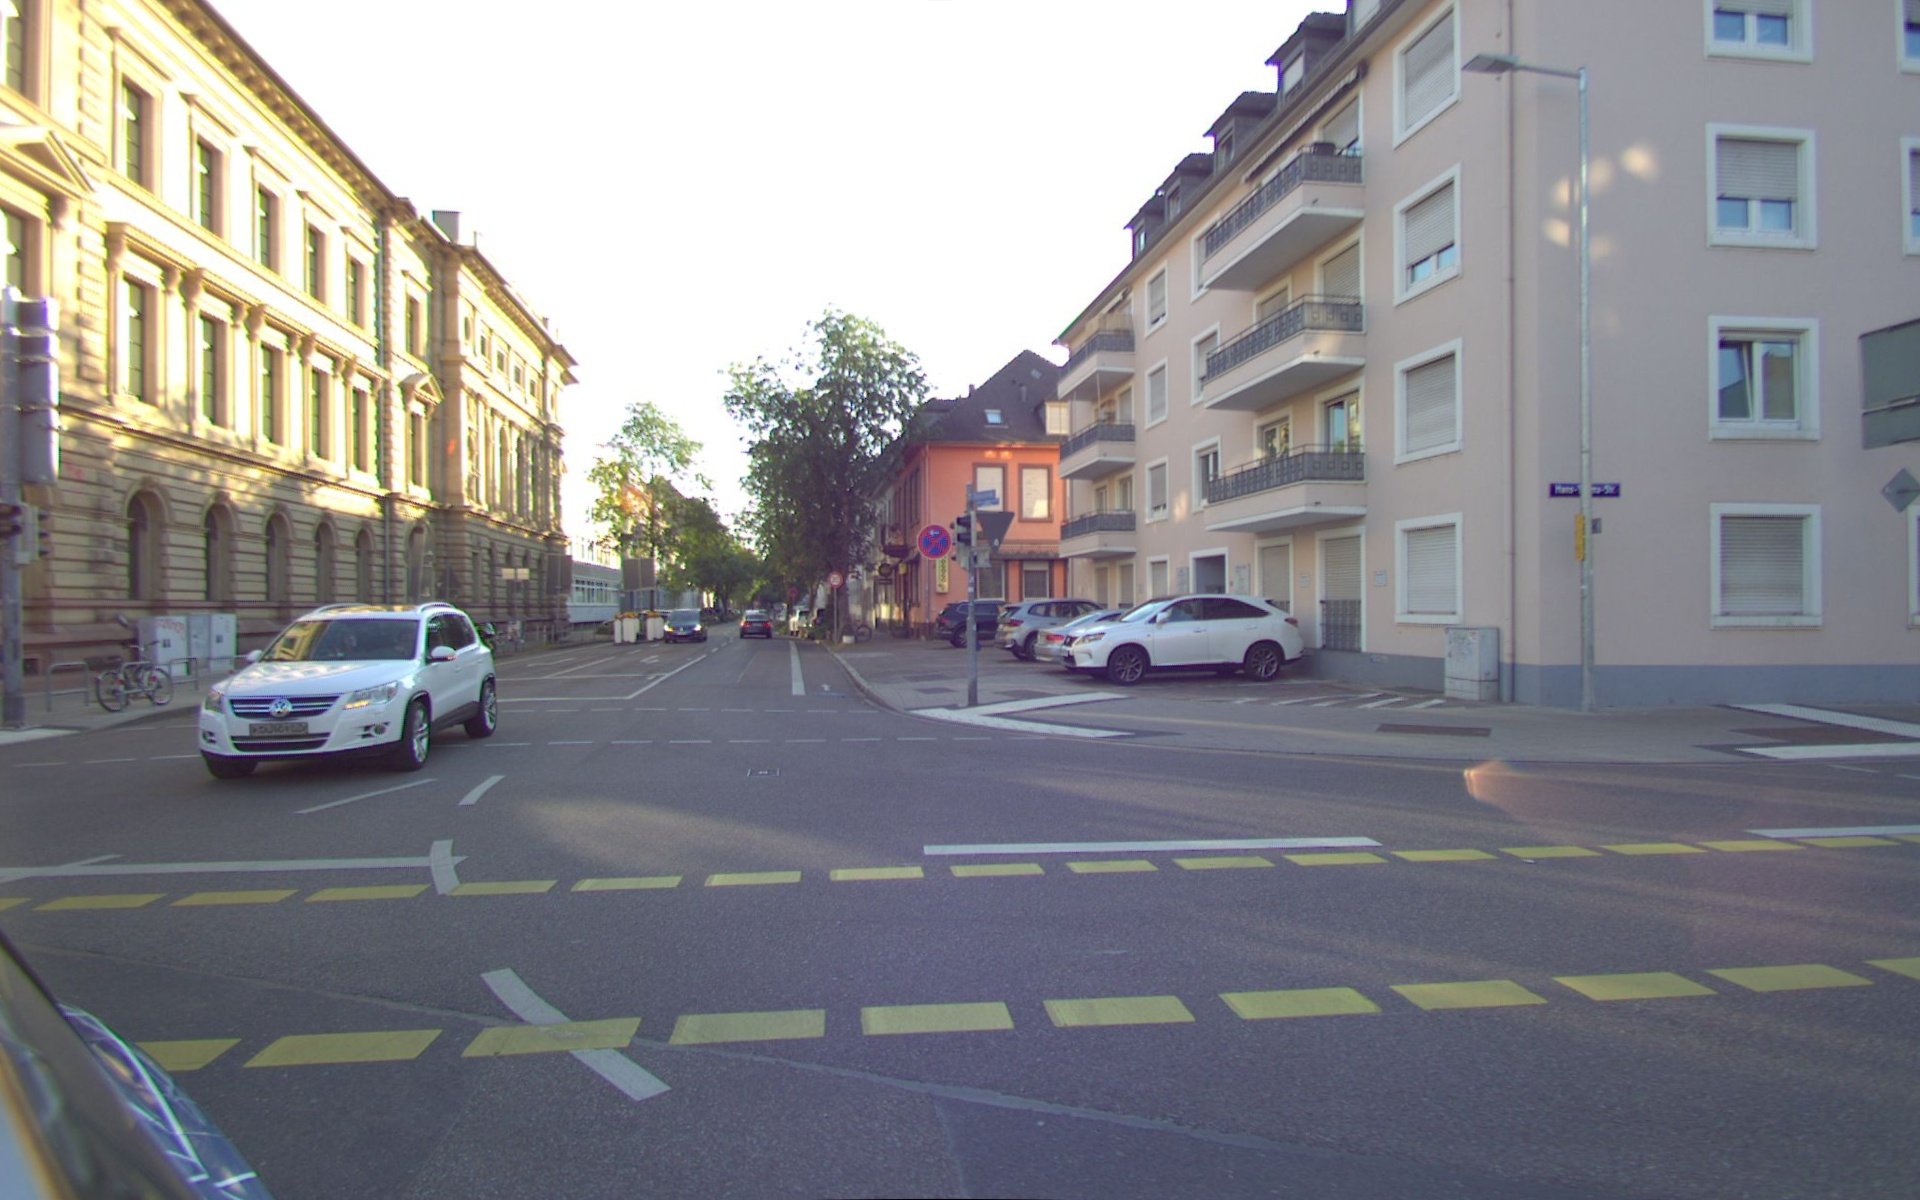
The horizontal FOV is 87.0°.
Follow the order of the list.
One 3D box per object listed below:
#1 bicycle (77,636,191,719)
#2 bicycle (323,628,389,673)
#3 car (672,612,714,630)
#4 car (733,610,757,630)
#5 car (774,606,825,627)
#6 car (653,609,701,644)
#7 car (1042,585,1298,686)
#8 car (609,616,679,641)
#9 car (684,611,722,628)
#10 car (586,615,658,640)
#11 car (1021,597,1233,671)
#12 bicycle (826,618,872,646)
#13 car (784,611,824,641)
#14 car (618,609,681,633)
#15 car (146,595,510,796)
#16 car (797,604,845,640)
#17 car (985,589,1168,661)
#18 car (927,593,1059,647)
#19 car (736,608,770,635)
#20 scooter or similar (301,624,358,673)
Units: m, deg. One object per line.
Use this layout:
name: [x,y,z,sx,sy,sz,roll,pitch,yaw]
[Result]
bicycle: [-13.659,1.249,16.803,0.574,1.197,1.924,-1,1,-9]
bicycle: [-16.336,1.343,27.423,0.816,1.143,1.948,2,-1,-9]
car: [-28.610,2.215,108.572,4.299,1.791,1.738,1,-1,-11]
car: [-17.193,1.586,81.049,1.806,1.557,4.859,0,-1,-12]
car: [-13.630,1.412,85.680,4.163,1.702,1.805,-1,-1,-12]
car: [-13.564,1.258,48.704,1.920,1.567,4.009,-1,-1,-11]
car: [4.016,0.649,19.675,4.383,1.653,1.946,-2,-1,-10]
car: [-21.430,1.924,68.812,4.301,1.506,1.676,2,-1,-9]
car: [-30.489,2.307,120.087,4.299,1.888,1.738,1,-1,-11]
car: [-22.013,1.764,66.054,4.298,1.475,1.838,2,-1,-13]
car: [3.637,0.723,22.393,4.211,1.391,1.739,-2,-1,-10]
bicycle: [-4.767,1.362,43.425,1.841,1.112,0.612,-1,-1,-15]
car: [-9.966,1.633,64.466,1.803,1.680,4.670,-5,0,-16]
car: [-22.999,1.560,75.130,4.299,1.655,2.059,2,-1,-11]
car: [-6.452,0.836,11.022,1.926,1.690,4.554,0,-1,-12]
car: [-7.782,1.196,56.265,1.803,1.772,5.063,-5,0,-16]
car: [3.032,0.639,26.732,4.361,1.617,1.920,-2,-1,-10]
car: [1.142,0.698,36.350,4.361,1.678,1.868,-2,-1,-10]
car: [-11.835,1.216,58.049,1.759,1.470,4.432,0,0,-10]
scooter or similar: [-16.189,1.239,25.995,1.121,1.204,0.582,1,-1,9]
